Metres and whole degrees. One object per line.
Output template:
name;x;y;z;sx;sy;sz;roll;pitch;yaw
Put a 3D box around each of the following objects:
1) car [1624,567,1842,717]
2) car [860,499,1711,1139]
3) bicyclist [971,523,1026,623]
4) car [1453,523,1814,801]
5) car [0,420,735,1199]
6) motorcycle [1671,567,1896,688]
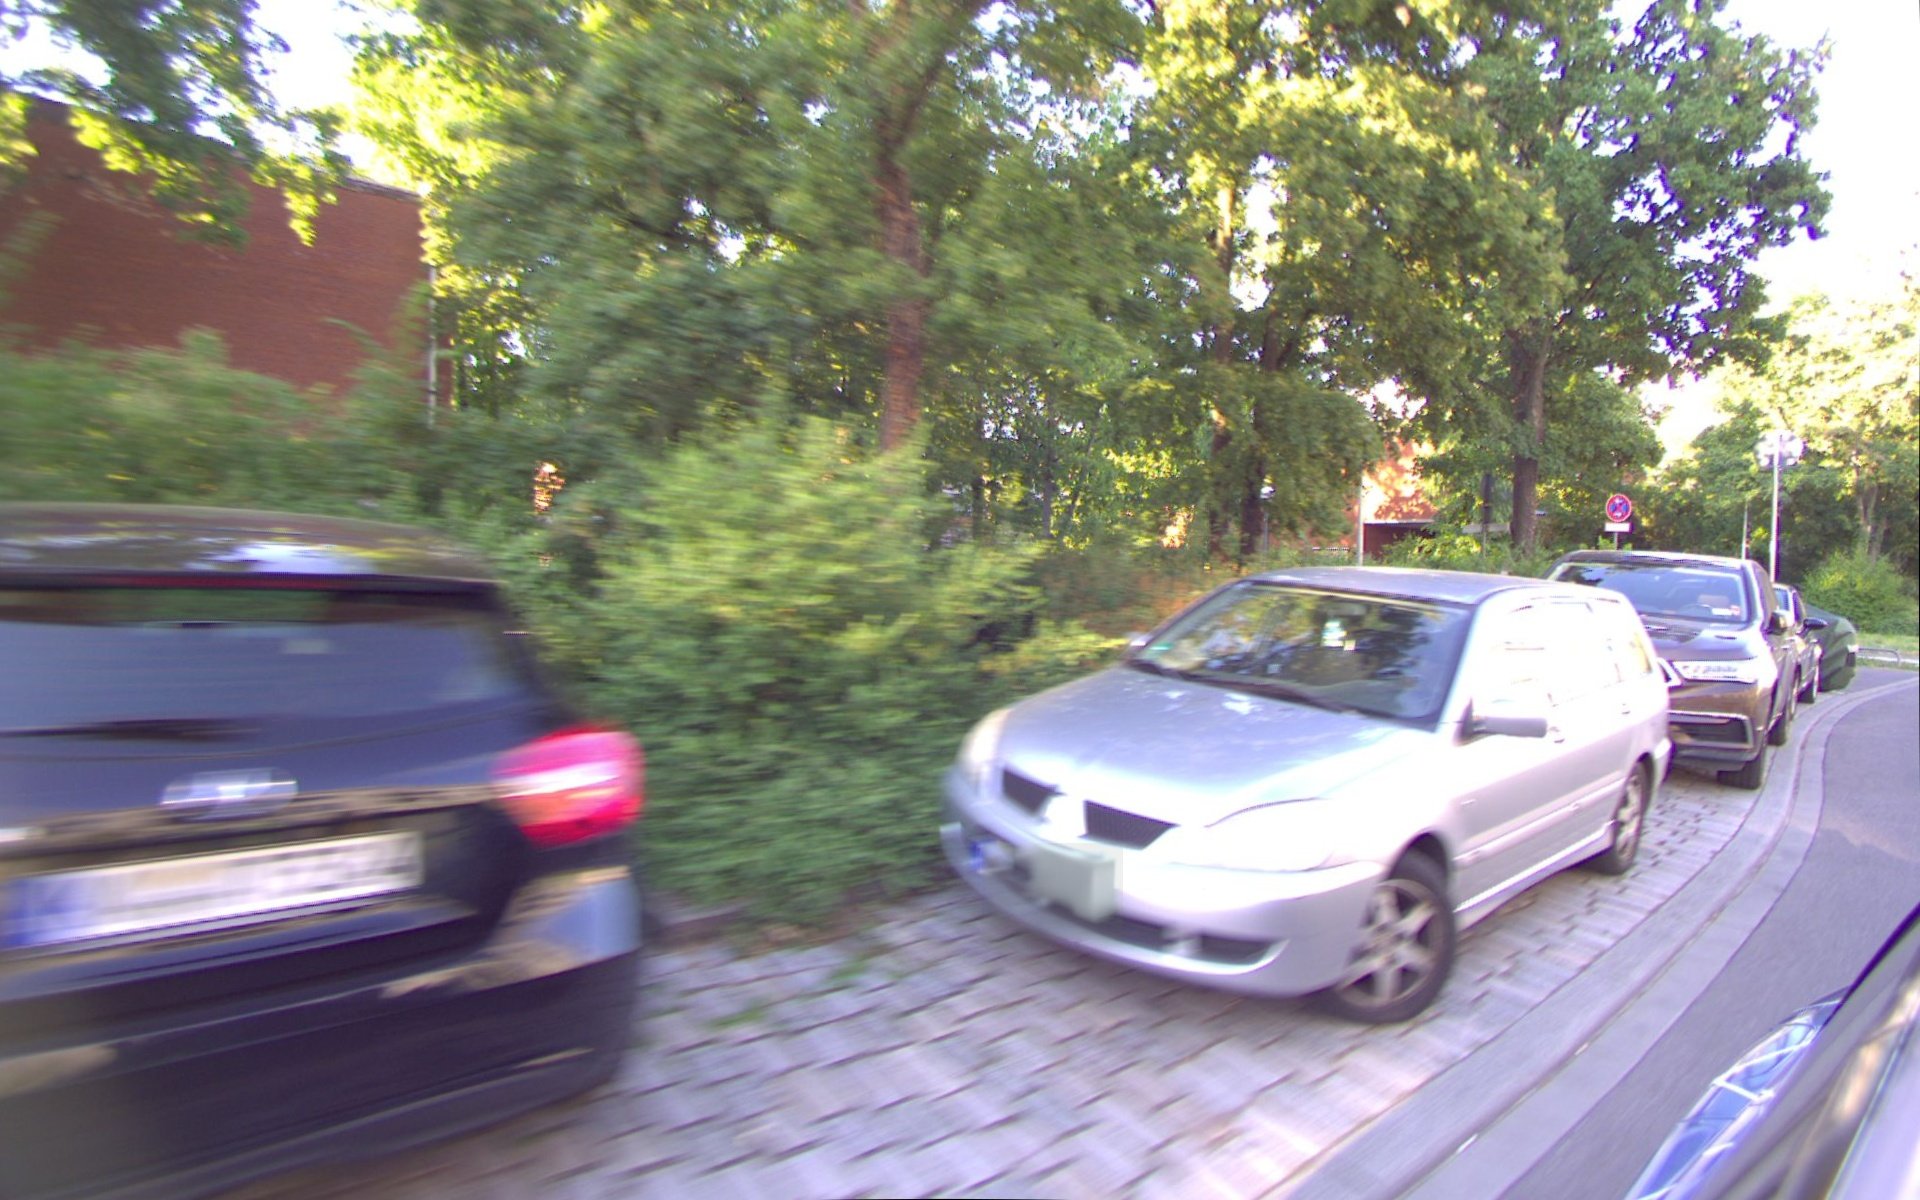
car;9.434;0.403;12.271;1.621;1.504;3.364;4;3;45
car;1.770;0.491;4.519;4.226;1.587;1.654;0;3;-41
bicyclist;0.659;-0.464;17.197;0.711;1.665;0.533;0;2;-39
car;6.050;0.323;8.807;1.921;1.770;4.596;4;3;42
car;-2.358;0.410;3.104;1.708;1.530;3.961;0;3;-38
motorcycle;11.977;0.345;14.808;1.019;1.563;2.301;0;3;-33
